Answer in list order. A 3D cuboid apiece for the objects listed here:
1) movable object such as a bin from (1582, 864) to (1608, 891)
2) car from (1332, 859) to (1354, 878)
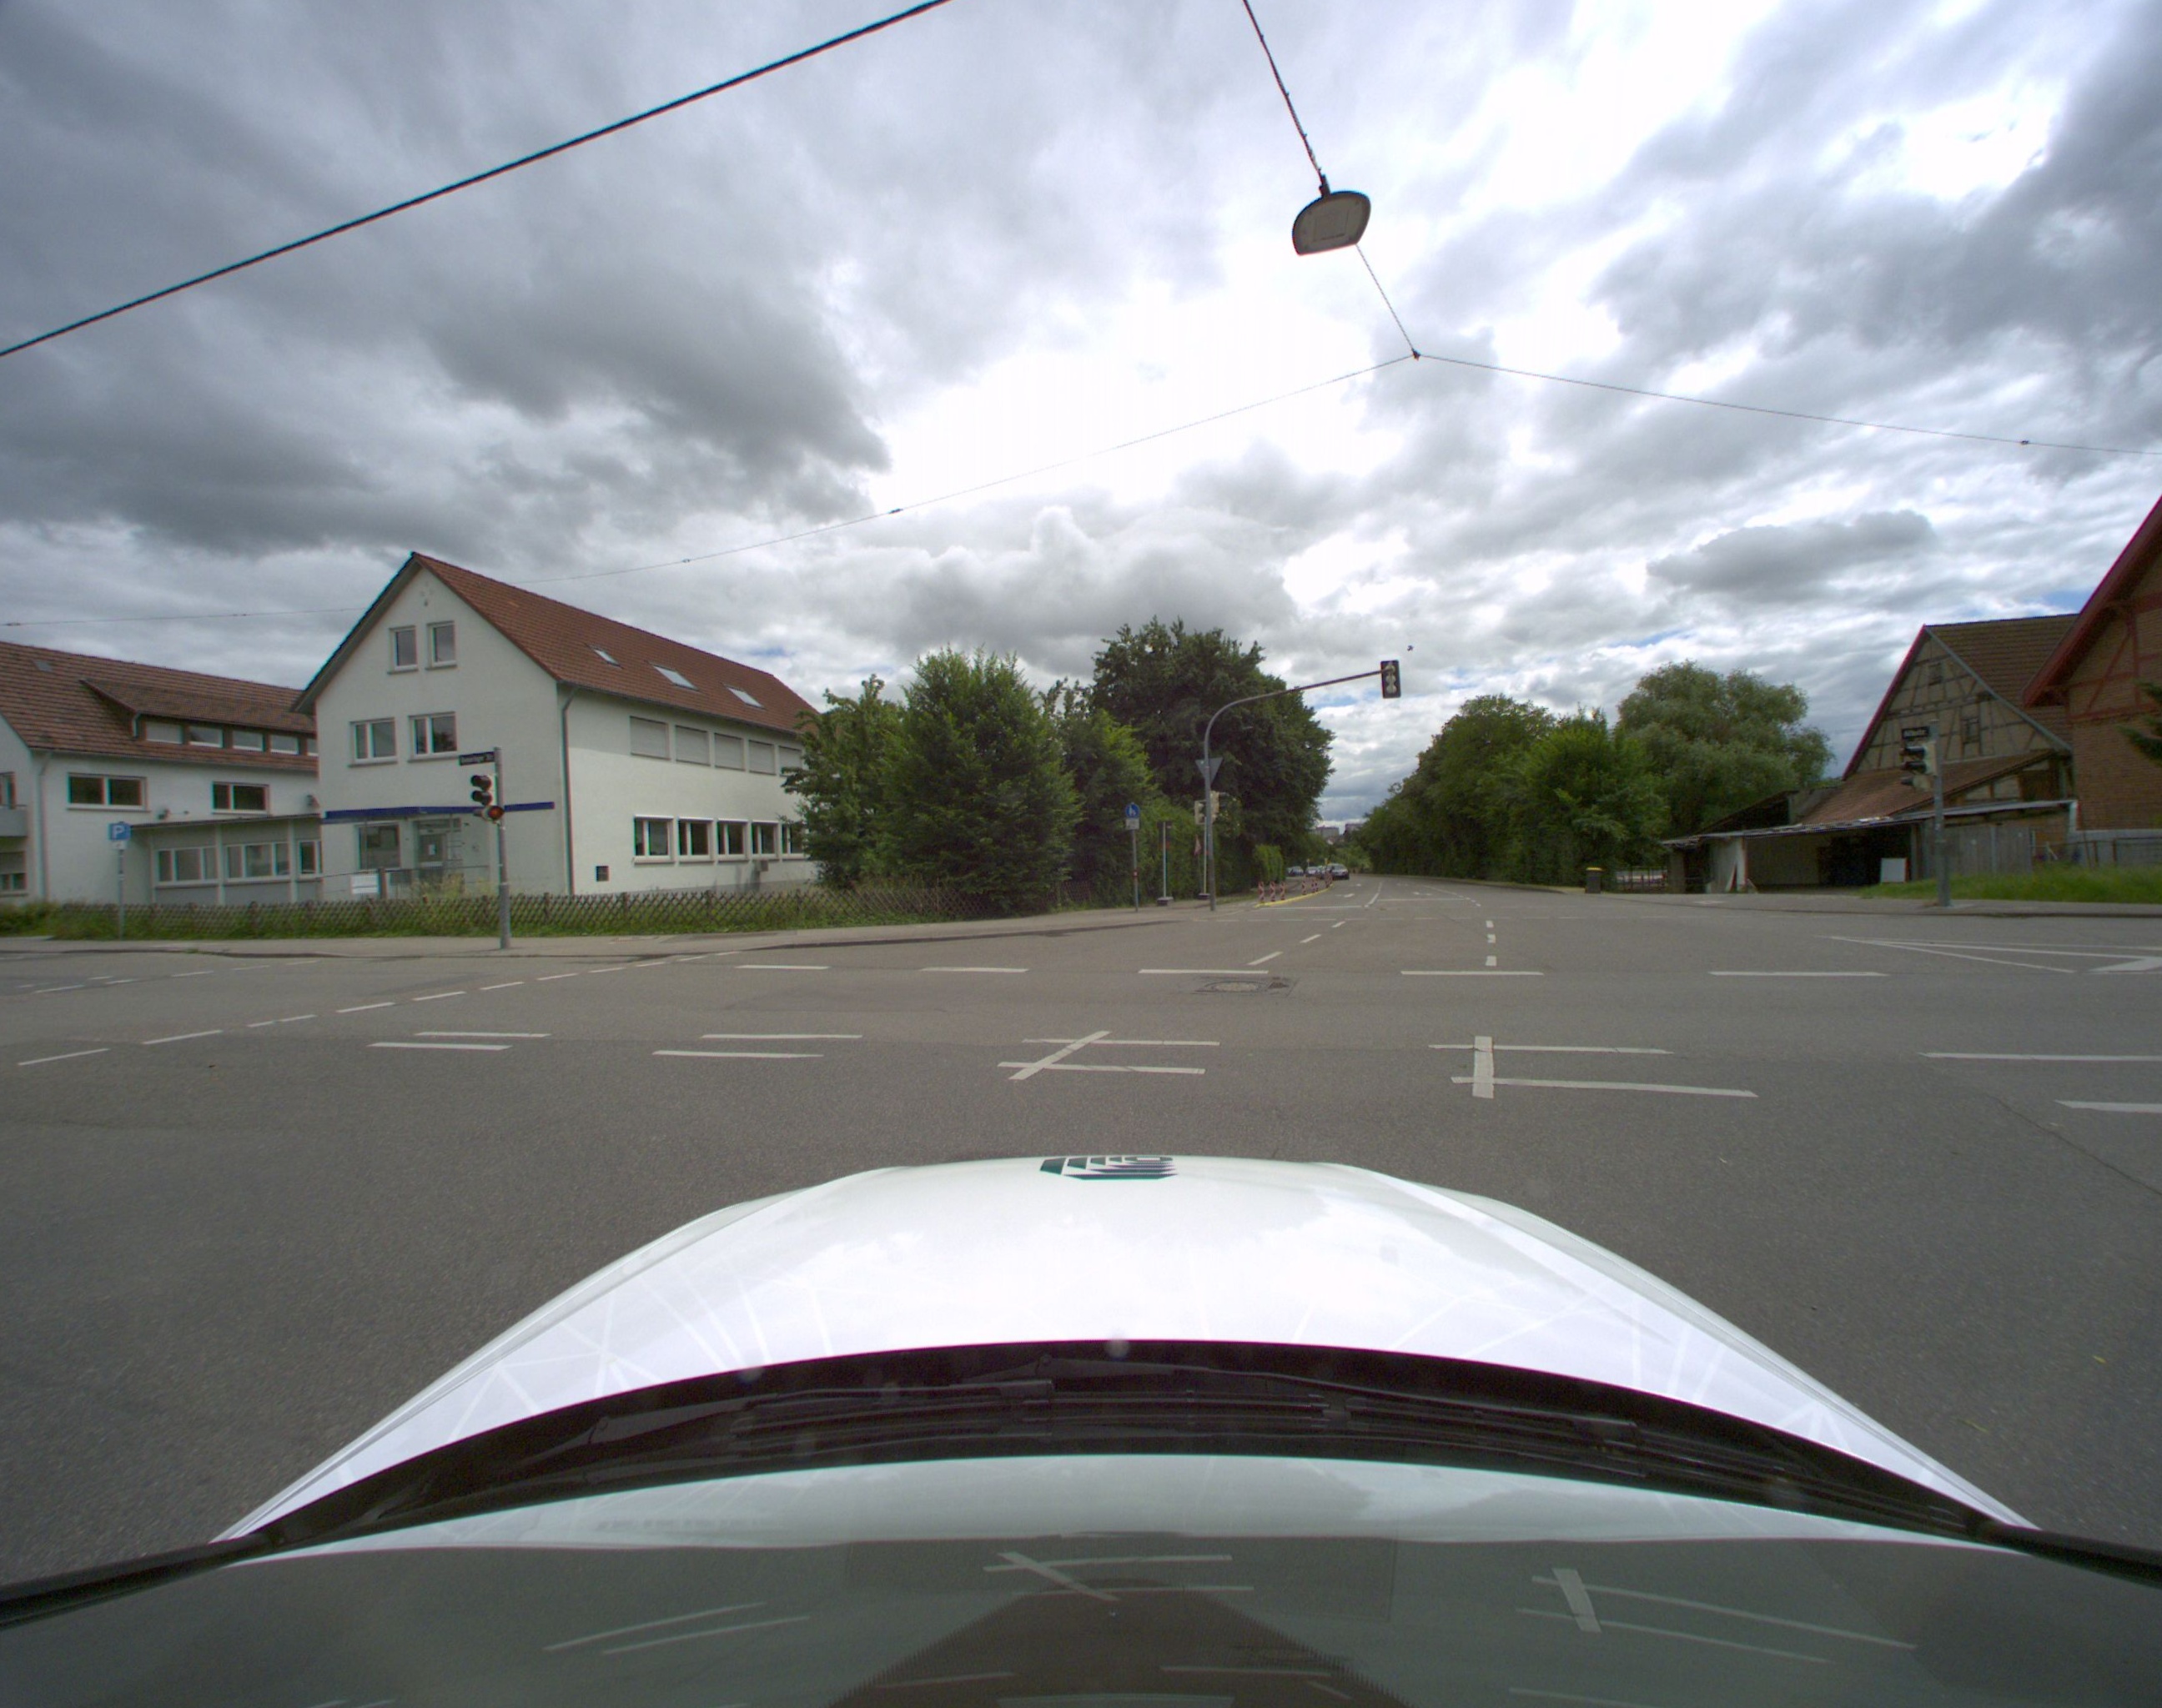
[{"bbox_3d":[18.329,0.839,29.023,0.605,0.906,0.586,-3,0,-38],"label":"movable object such as a bin"},{"bbox_3d":[26.448,1.414,82.267,1.978,1.750,4.018,-3,0,18],"label":"car"}]
